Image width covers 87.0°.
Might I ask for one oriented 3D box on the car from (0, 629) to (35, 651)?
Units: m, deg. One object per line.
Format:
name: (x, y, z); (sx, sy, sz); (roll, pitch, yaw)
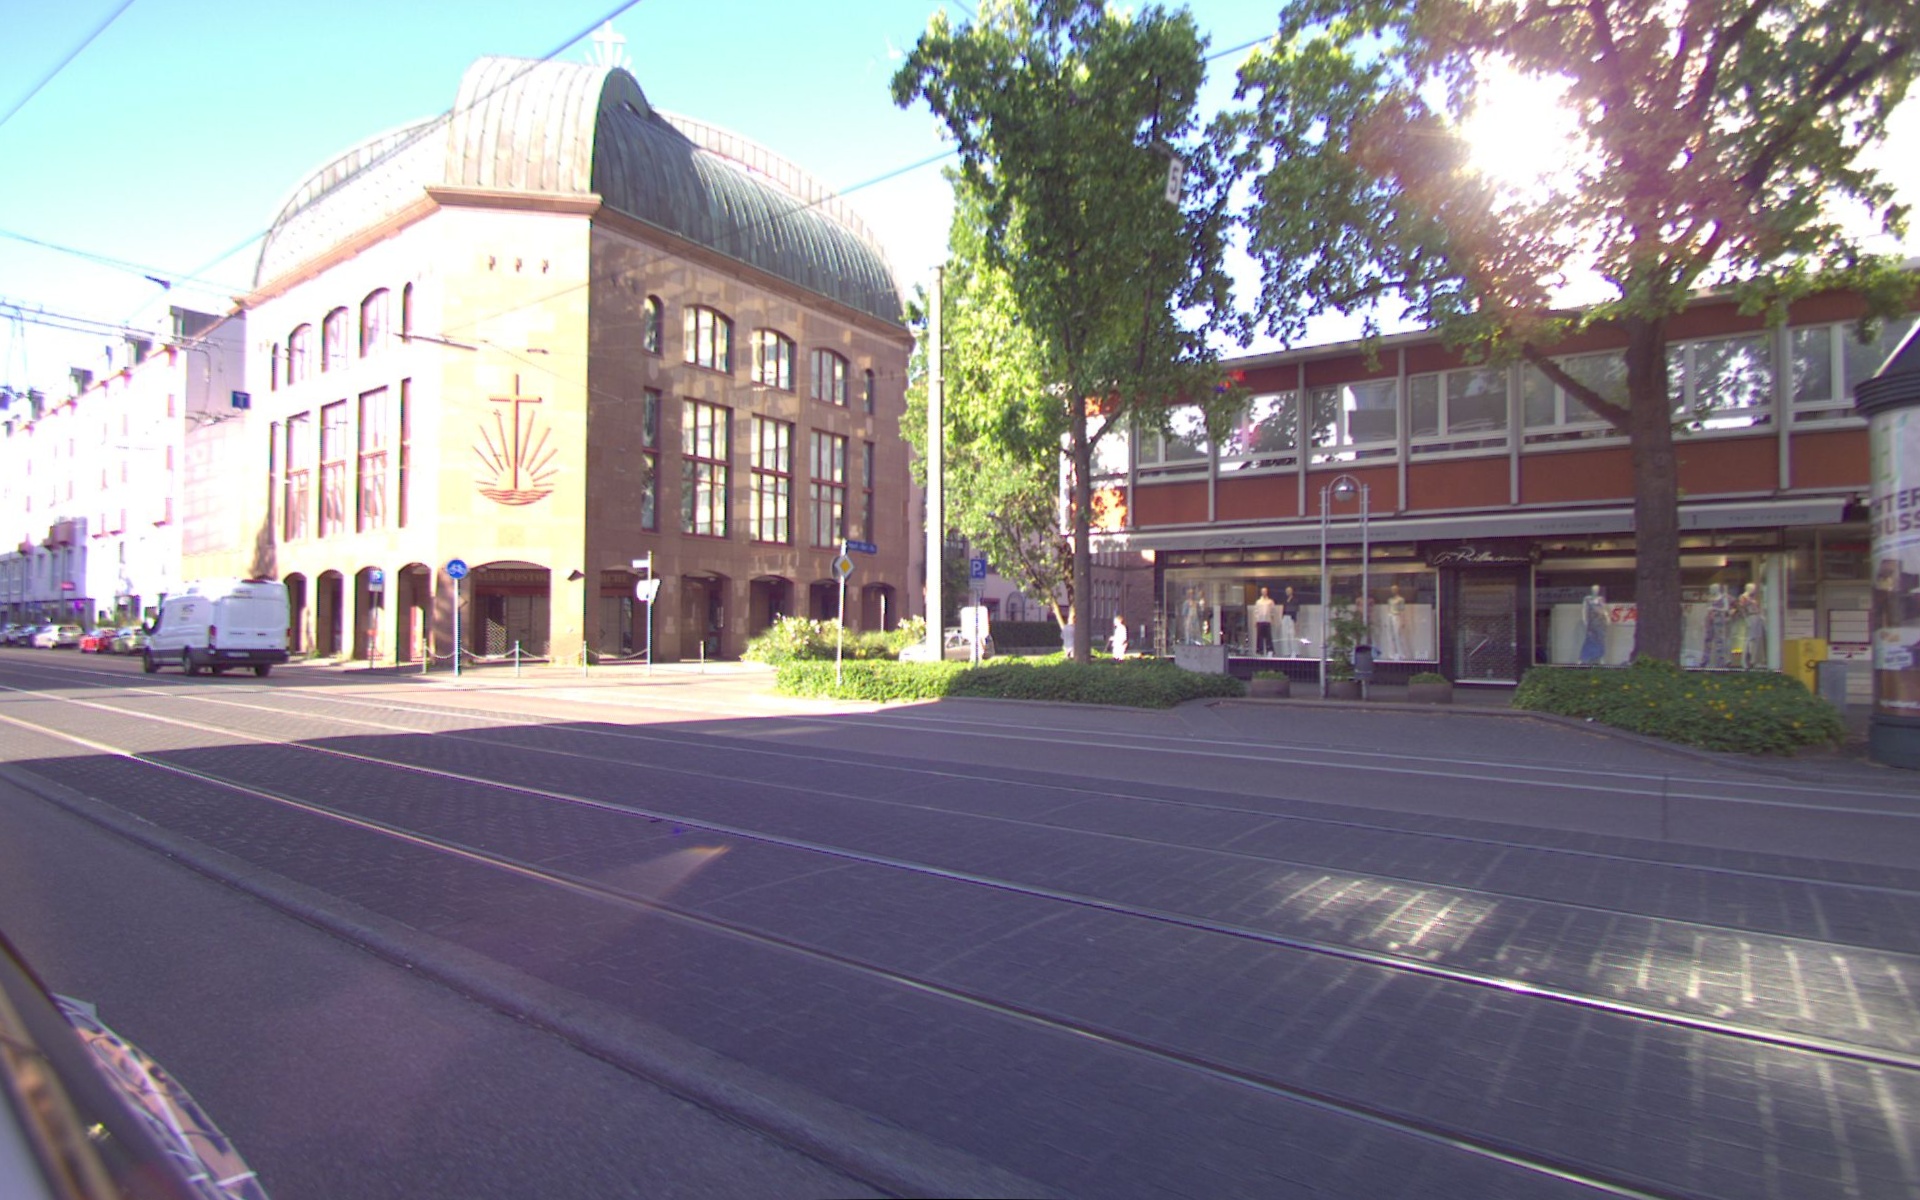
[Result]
car: (-63.848, 2.680, 68.012); (3.848, 1.465, 1.833); (-1, -2, 38)

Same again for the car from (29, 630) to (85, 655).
car: (-54.062, 2.528, 60.582); (3.848, 1.465, 1.833); (-1, -2, 38)

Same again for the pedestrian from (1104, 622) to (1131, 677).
pedestrian: (4.653, 1.450, 29.831); (0.439, 1.604, 0.724); (2, -3, -27)

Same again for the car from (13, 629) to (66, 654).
car: (-57.858, 2.580, 63.567); (3.848, 1.465, 1.833); (-1, -2, 38)

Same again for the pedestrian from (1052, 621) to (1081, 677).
pedestrian: (3.069, 1.414, 29.188); (0.440, 1.604, 0.722); (3, -3, -43)

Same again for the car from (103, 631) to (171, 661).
car: (-41.178, 2.270, 50.635); (3.848, 1.465, 1.833); (-1, -2, 38)

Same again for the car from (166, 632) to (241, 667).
car: (-33.493, 2.149, 44.808); (3.465, 1.465, 1.733); (-1, -2, 36)

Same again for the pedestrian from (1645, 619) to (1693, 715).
pedestrian: (13.566, 1.271, 19.367); (0.705, 1.785, 0.567); (-1, -3, 39)

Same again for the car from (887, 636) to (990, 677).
car: (-0.795, 2.261, 40.910); (1.997, 1.542, 4.221); (-1, -3, 37)

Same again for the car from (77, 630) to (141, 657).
car: (-45.107, 2.301, 53.602); (3.848, 1.364, 1.833); (-1, -2, 38)

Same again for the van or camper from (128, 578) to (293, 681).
van or camper: (-22.402, 0.906, 30.094); (7.009, 2.760, 2.017); (-1, -4, 38)

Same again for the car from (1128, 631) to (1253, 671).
car: (9.597, 2.084, 42.344); (4.721, 1.541, 1.974); (-1, 0, 40)

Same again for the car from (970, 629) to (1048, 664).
car: (2.329, 2.155, 47.212); (1.991, 1.542, 4.232); (-1, -3, 29)

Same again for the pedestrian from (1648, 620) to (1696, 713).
pedestrian: (13.959, 1.288, 19.842); (0.705, 1.764, 0.567); (-1, -3, 39)
